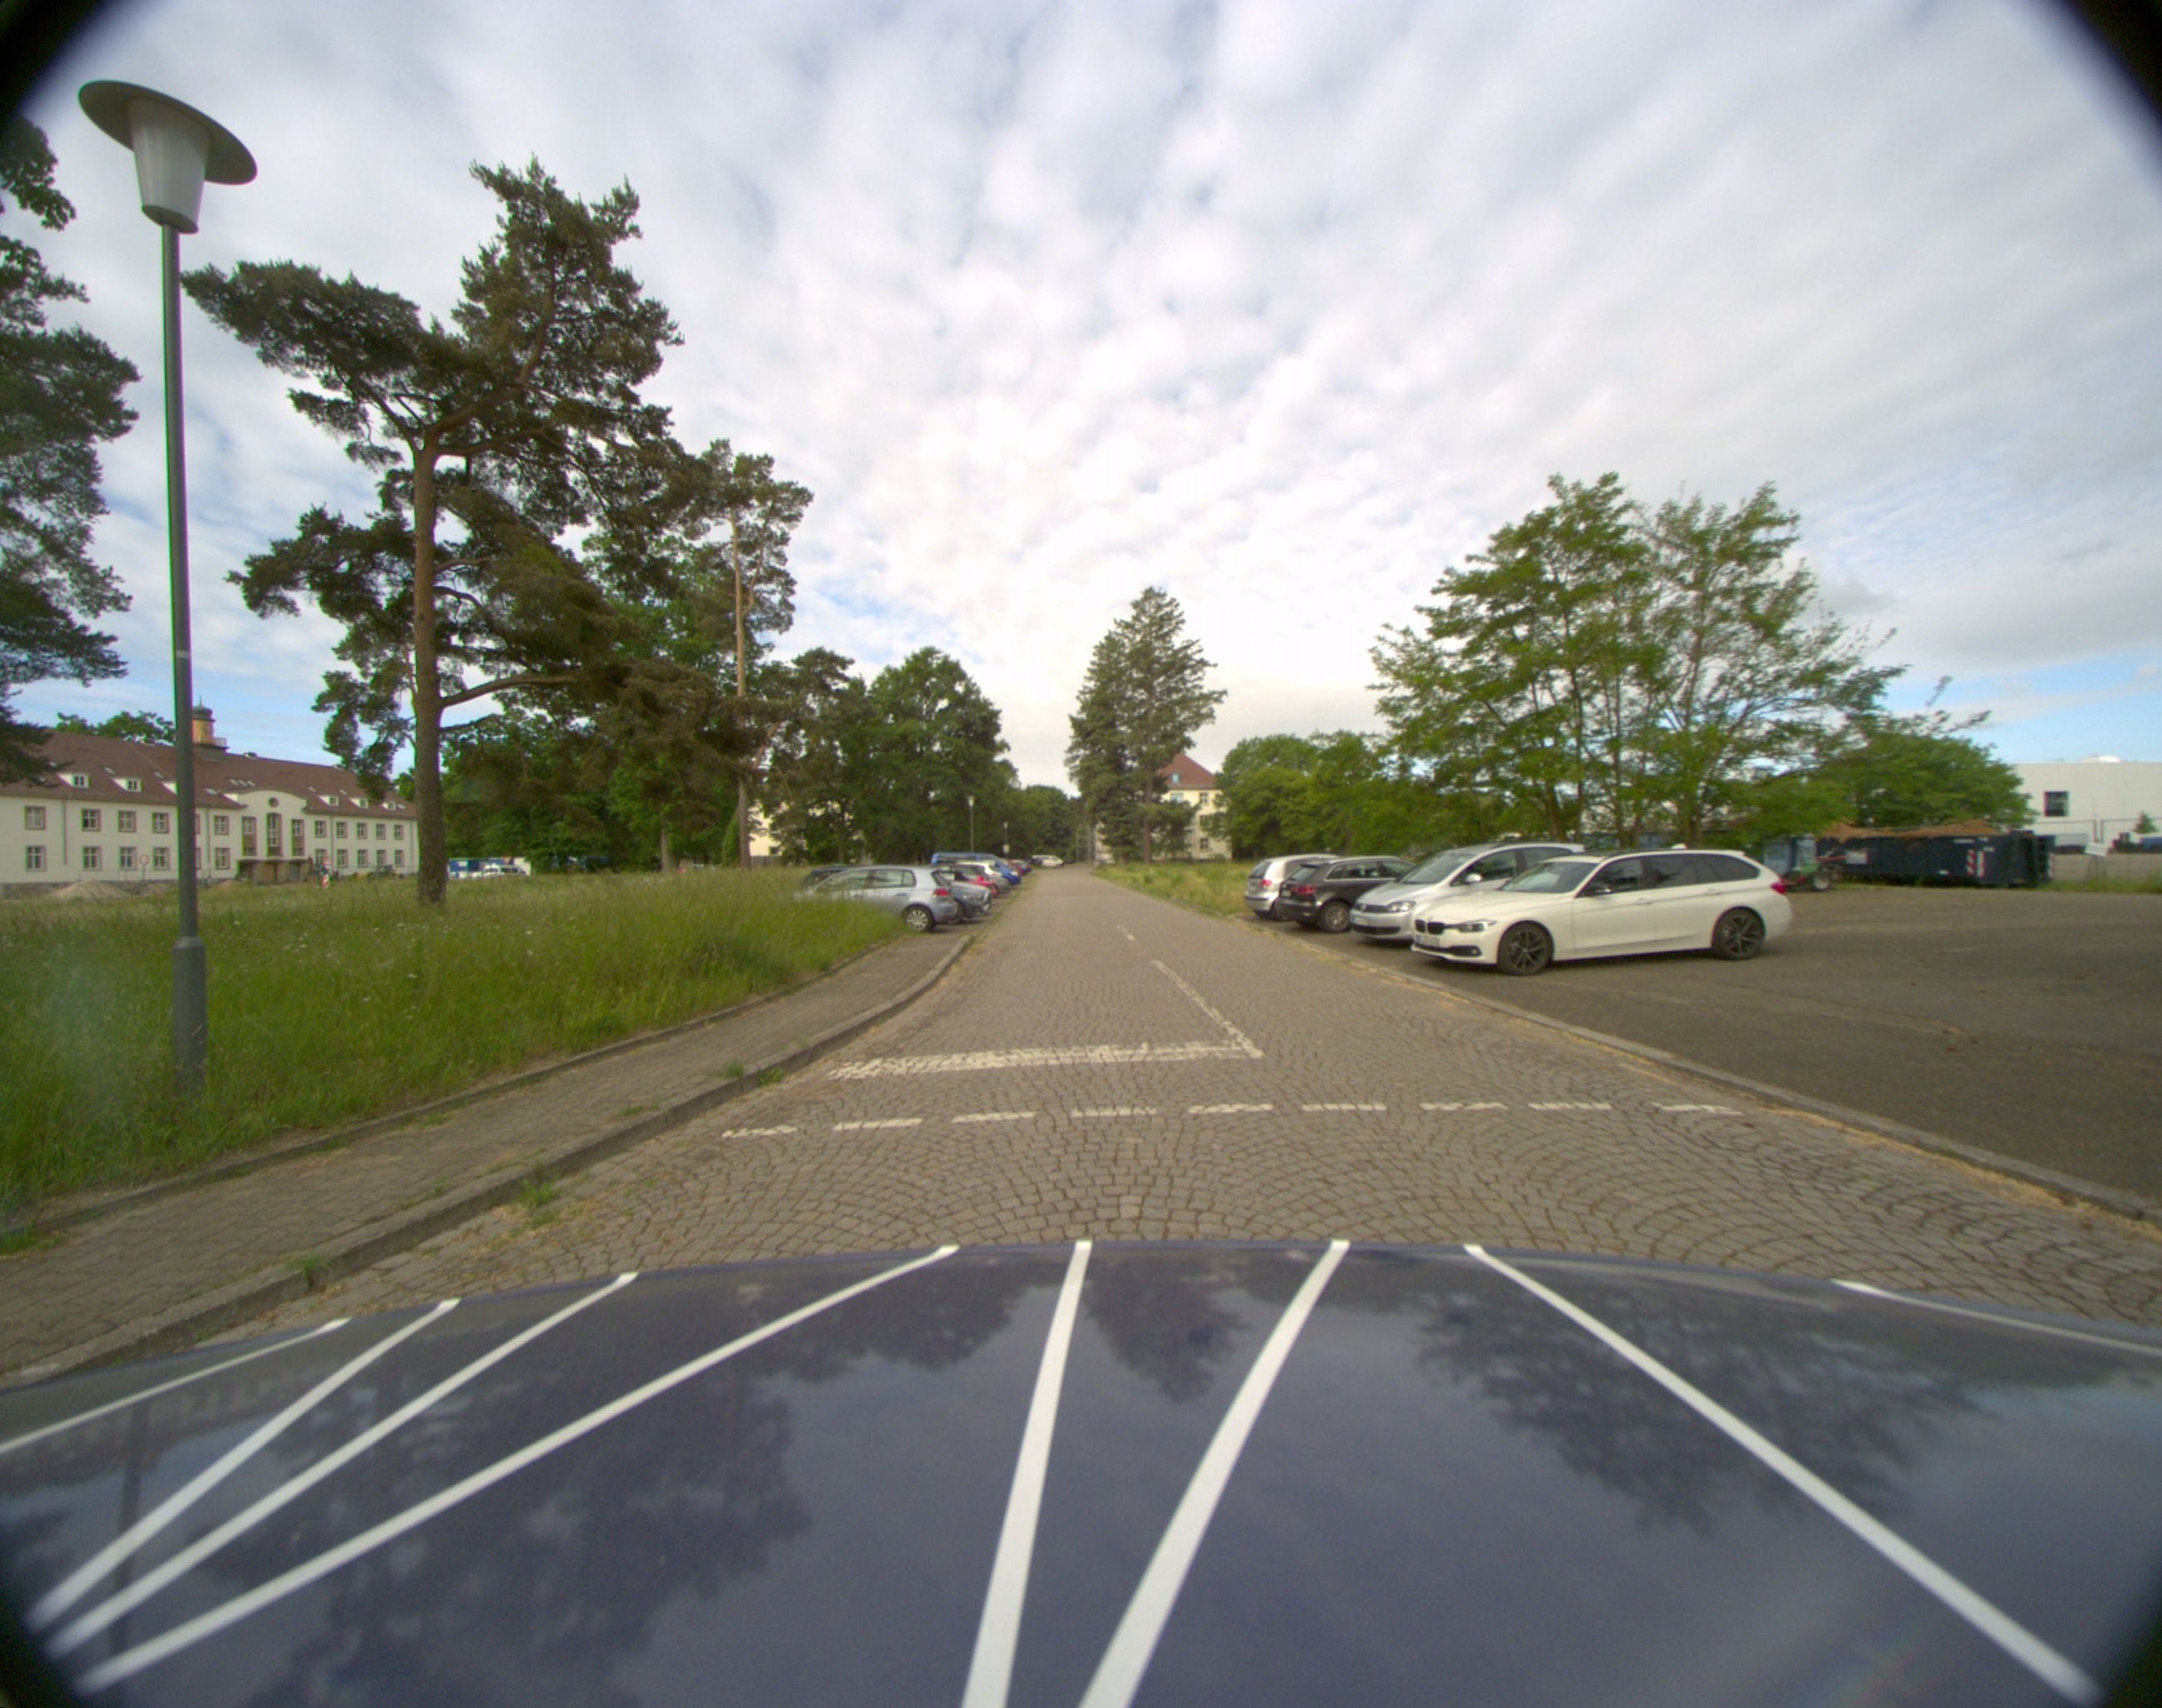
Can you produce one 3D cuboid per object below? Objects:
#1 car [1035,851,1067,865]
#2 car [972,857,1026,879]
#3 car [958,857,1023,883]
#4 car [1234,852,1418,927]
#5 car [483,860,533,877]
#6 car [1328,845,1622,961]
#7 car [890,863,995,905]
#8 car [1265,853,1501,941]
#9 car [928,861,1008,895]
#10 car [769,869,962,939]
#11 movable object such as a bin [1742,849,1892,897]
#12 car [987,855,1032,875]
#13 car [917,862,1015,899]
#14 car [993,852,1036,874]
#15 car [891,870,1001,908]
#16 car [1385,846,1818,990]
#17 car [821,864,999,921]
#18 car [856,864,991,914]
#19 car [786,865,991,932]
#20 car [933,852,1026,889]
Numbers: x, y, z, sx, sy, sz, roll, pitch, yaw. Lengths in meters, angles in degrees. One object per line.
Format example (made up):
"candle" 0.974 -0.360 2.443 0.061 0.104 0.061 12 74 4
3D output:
"car" -4.903 0.642 123.302 5.031 2.164 2.000 -1 0 0
"car" -6.428 1.103 59.699 3.998 1.521 2.000 -2 0 -2
"car" -5.843 1.028 49.384 3.998 1.601 2.000 -1 0 -2
"car" 5.740 0.796 18.055 3.689 1.444 1.807 -4 1 -7
"car" -71.182 1.785 94.566 2.154 2.002 5.224 -1 0 1
"car" 6.431 0.746 12.632 3.999 1.538 1.723 -3 1 -7
"car" -5.258 1.122 29.318 3.787 1.497 1.798 -1 0 -4
"car" 5.961 0.806 15.312 3.998 1.419 1.750 -4 1 -3
"car" -5.158 1.086 35.037 3.409 1.443 1.637 -1 0 -1
"car" -4.560 1.042 16.513 3.774 1.418 1.605 0 0 -5
"movable object such as a bin" 18.981 0.466 19.665 2.397 1.154 1.500 -1 0 3
"car" -6.554 0.958 69.948 4.008 1.752 2.000 -1 0 -1
"car" -4.819 1.084 32.224 3.849 1.448 1.820 -1 0 0
"car" -6.465 0.853 74.350 3.997 2.002 2.000 -1 0 -1
"car" -4.678 1.205 26.627 3.600 1.200 1.494 -1 0 -1
"car" 6.746 0.761 10.117 4.661 1.435 1.801 -3 1 -6
"car" -4.863 1.088 22.093 4.770 1.474 1.812 -1 0 -2
"car" -4.954 1.086 24.353 3.972 1.443 1.799 -1 0 -2
"car" -4.731 1.079 19.220 4.771 1.474 1.761 -1 0 -5
"car" -5.339 0.844 40.456 4.750 1.928 1.999 0 0 -3
